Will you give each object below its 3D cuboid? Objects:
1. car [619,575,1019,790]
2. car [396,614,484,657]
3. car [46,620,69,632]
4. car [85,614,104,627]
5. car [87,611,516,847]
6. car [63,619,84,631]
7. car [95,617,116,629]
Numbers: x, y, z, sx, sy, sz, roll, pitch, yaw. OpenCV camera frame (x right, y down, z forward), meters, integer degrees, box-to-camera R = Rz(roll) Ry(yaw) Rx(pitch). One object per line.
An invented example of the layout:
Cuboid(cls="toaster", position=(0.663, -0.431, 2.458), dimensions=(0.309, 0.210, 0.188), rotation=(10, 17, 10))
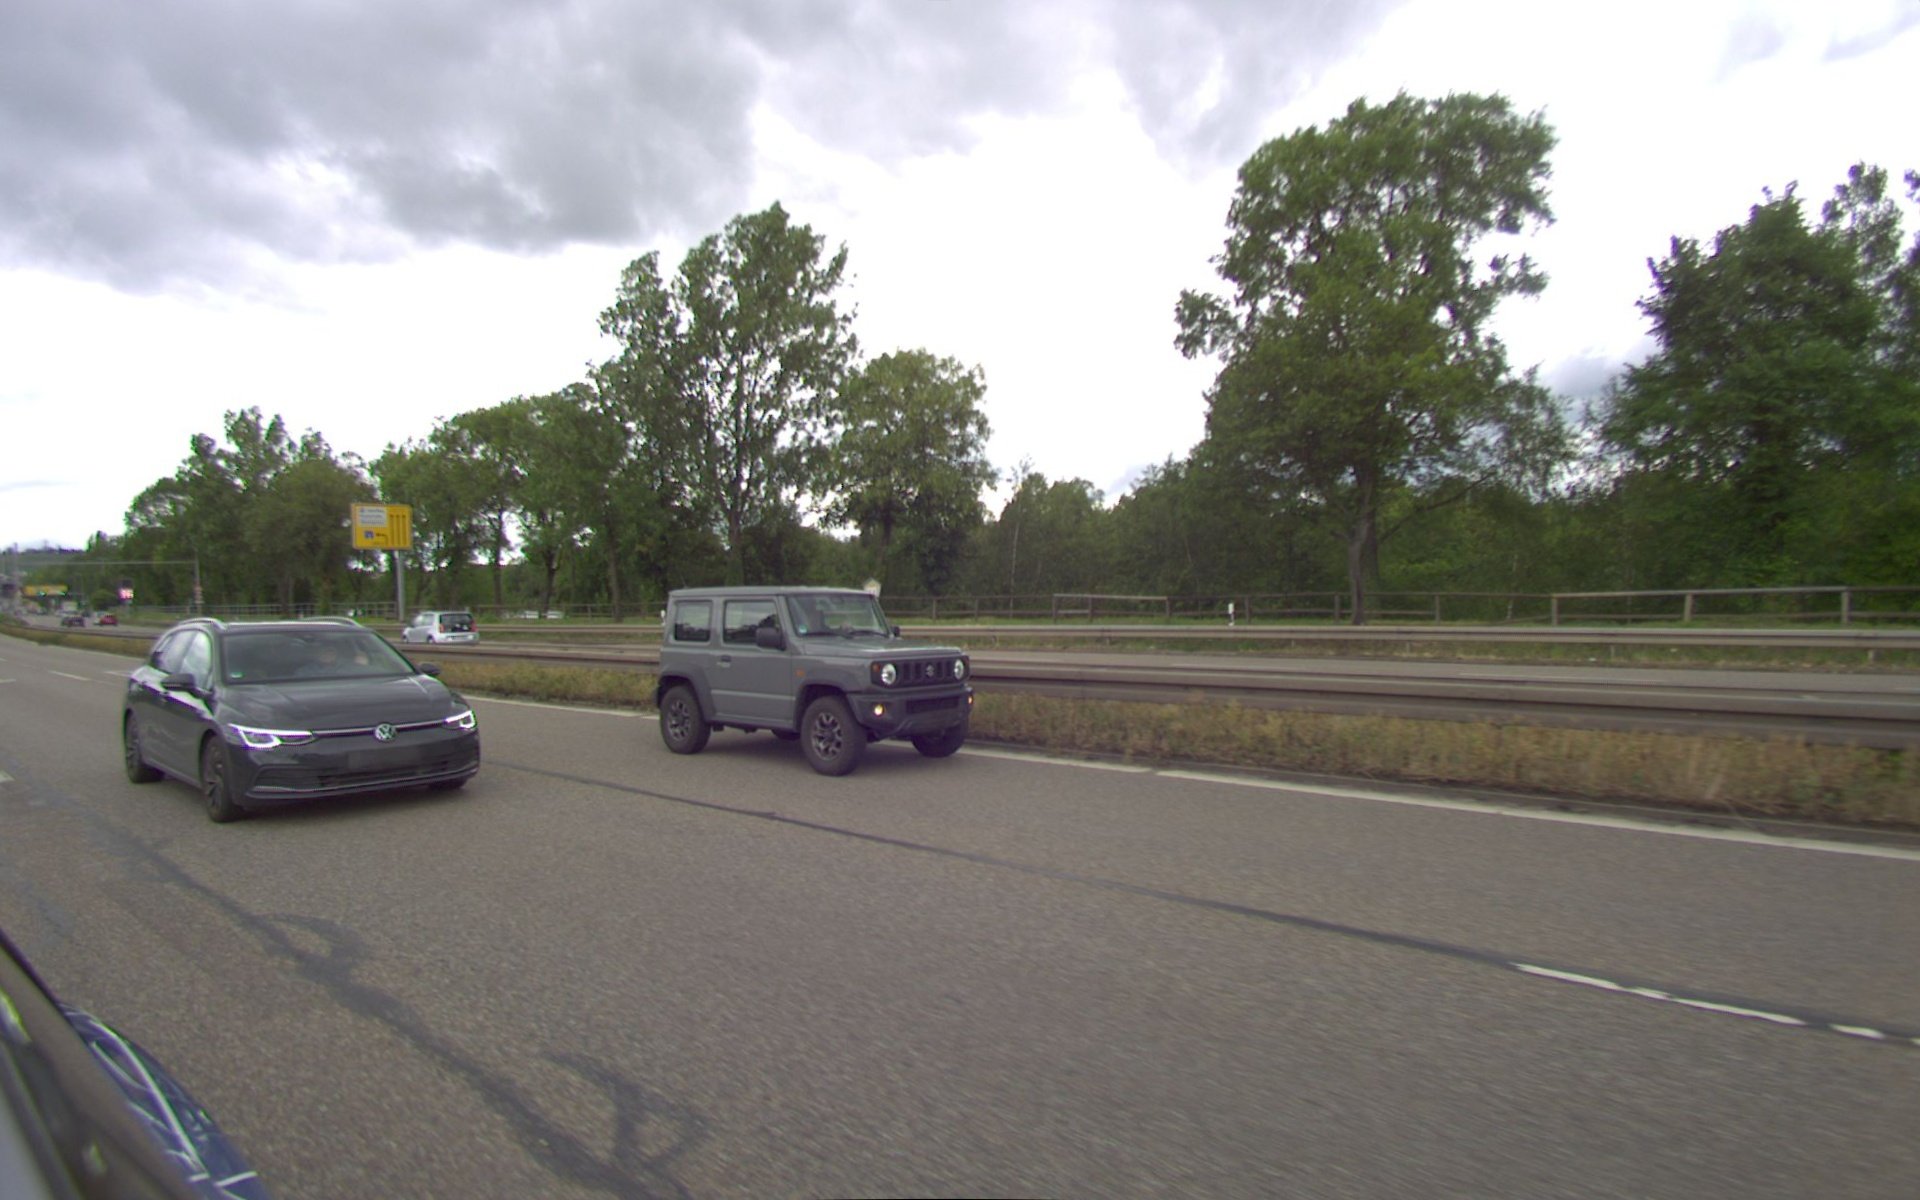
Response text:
Cuboid(cls="car", position=(-1.516, 0.699, 9.970), dimensions=(3.997, 1.699, 1.680), rotation=(-1, -2, 40))
Cuboid(cls="car", position=(-18.833, 1.256, 36.610), dimensions=(3.731, 1.396, 1.597), rotation=(-1, 0, 42))
Cuboid(cls="car", position=(-123.984, 3.565, 139.006), dimensions=(5.552, 1.476, 1.841), rotation=(-1, 0, 44))
Cuboid(cls="car", position=(-122.471, 2.891, 143.117), dimensions=(4.563, 1.898, 1.593), rotation=(-1, 0, 44))
Cuboid(cls="car", position=(-5.910, 0.877, 8.781), dimensions=(4.898, 1.434, 1.826), rotation=(-1, 1, 41))
Cuboid(cls="car", position=(-111.474, 3.159, 127.210), dimensions=(3.912, 1.434, 1.642), rotation=(-1, 0, 44))
Cuboid(cls="car", position=(-112.101, 3.027, 132.758), dimensions=(4.381, 1.476, 1.699), rotation=(-1, 0, 44))
